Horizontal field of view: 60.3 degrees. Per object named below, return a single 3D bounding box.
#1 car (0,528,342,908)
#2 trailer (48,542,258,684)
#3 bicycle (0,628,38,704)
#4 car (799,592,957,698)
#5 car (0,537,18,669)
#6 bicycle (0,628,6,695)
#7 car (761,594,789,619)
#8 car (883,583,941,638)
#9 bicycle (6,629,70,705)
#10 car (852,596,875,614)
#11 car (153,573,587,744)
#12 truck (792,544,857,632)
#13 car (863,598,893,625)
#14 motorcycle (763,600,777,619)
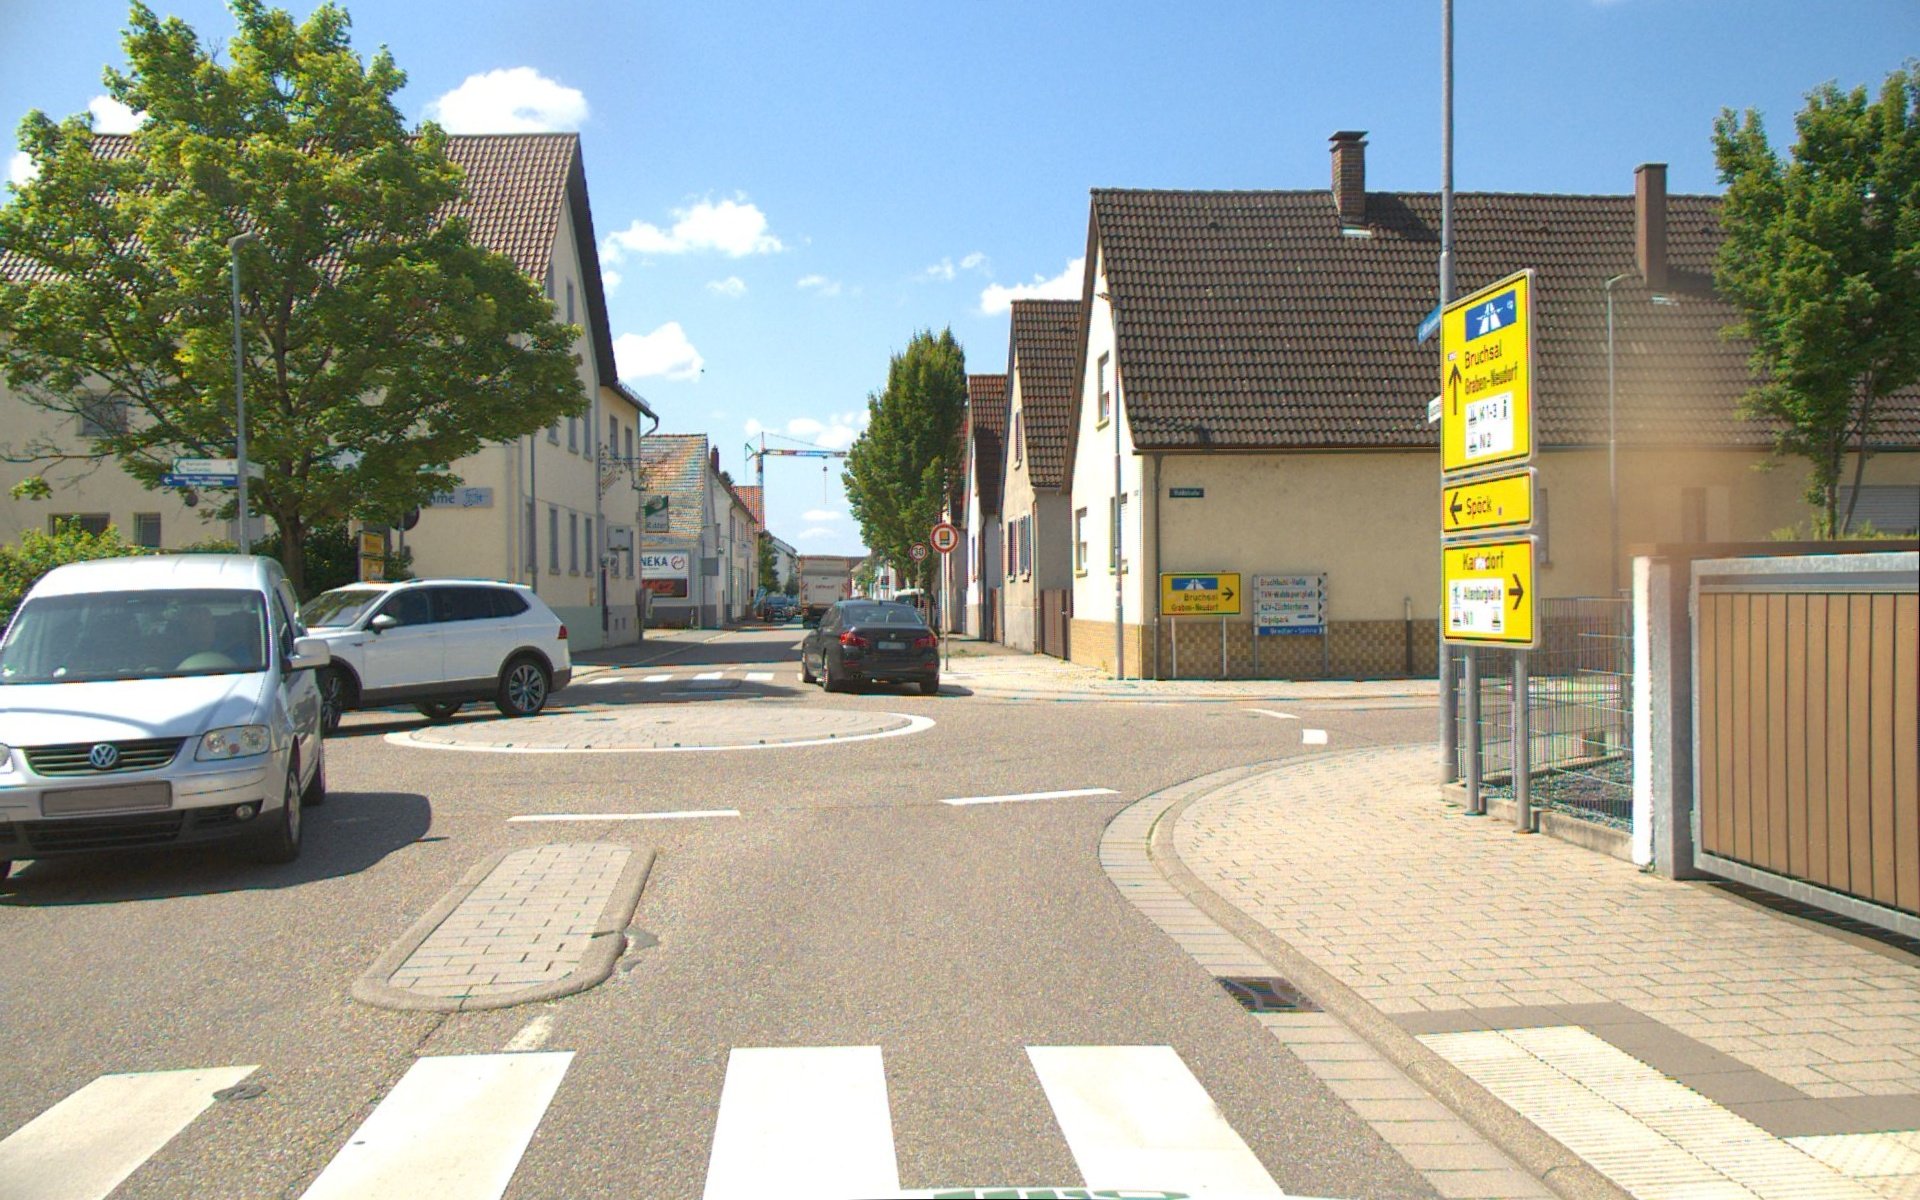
[{"bbox_3d":[-5.000,0.592,10.495,1.744,1.853,4.419,-2,0,-18],"label":"car"},{"bbox_3d":[-14.558,0.220,30.139,1.842,2.376,4.520,1,0,-4],"label":"trailer"},{"bbox_3d":[-14.462,0.989,25.074,0.393,1.021,1.974,-1,2,-16],"label":"bicycle"},{"bbox_3d":[-1.457,0.673,27.505,1.869,1.591,4.461,0,0,-13],"label":"car"},{"bbox_3d":[-19.696,0.058,30.324,1.898,2.612,5.643,1,0,-4],"label":"car"},{"bbox_3d":[-14.880,0.980,24.923,0.393,1.021,1.974,-1,2,-16],"label":"bicycle"},{"bbox_3d":[-12.236,0.419,109.438,1.774,1.617,3.996,0,0,-5],"label":"car"},{"bbox_3d":[-1.744,0.358,58.961,1.686,1.821,4.138,-2,0,-6],"label":"car"},{"bbox_3d":[-14.032,0.997,25.196,0.393,1.021,1.974,-1,2,-16],"label":"bicycle"},{"bbox_3d":[-7.264,0.366,123.907,1.686,1.379,4.153,0,0,-4],"label":"car"},{"bbox_3d":[-6.664,0.572,19.159,1.834,1.740,4.527,-1,0,35],"label":"car"},{"bbox_3d":[-7.072,-0.554,87.469,3.082,4.325,9.295,1,-1,-3],"label":"truck"},{"bbox_3d":[-4.747,0.661,95.612,1.685,1.487,4.154,0,0,-3],"label":"car"},{"bbox_3d":[-12.116,0.612,105.479,0.830,1.190,2.466,1,-1,-6],"label":"motorcycle"}]
